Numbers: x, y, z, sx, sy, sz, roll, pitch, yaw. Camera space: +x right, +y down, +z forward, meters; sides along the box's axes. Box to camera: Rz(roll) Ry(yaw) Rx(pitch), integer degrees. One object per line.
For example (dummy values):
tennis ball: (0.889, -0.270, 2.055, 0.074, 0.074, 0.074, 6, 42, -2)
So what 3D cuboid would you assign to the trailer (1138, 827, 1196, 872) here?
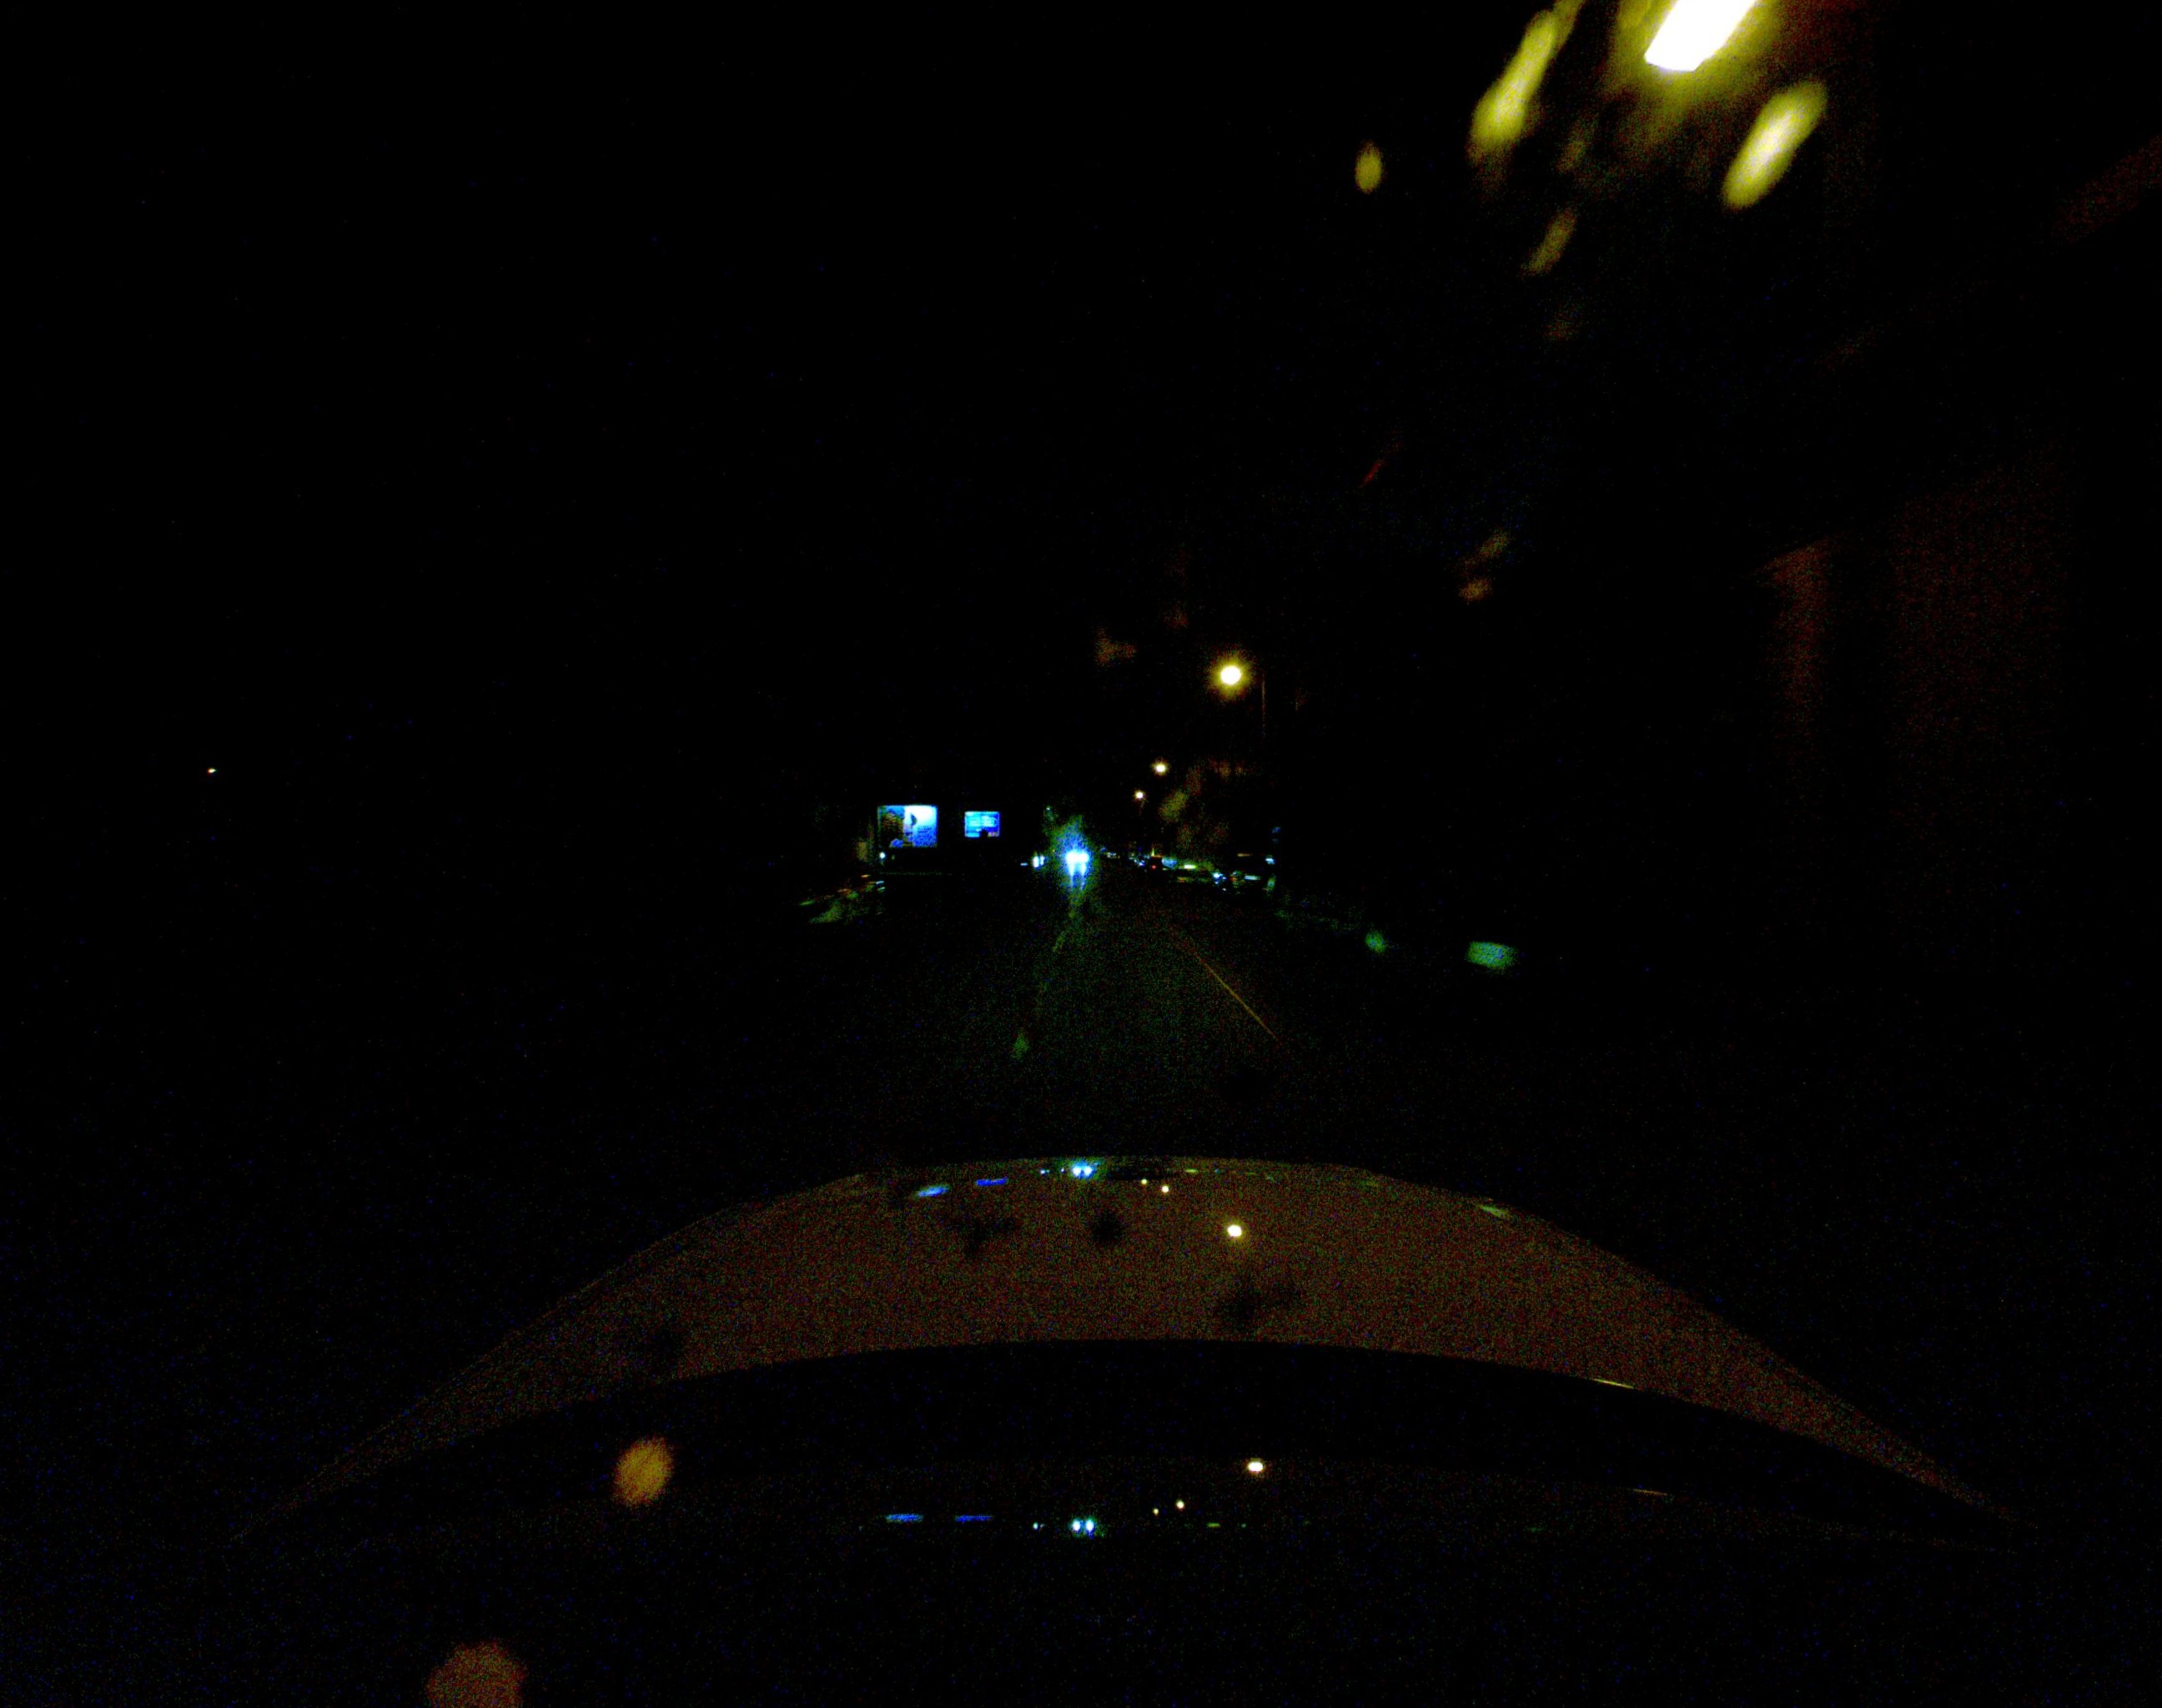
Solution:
trailer: (5.773, -0.257, 56.513, 3.173, 2.749, 10.718, -1, 0, 1)

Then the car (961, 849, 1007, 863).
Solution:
car: (-10.343, 0.191, 87.027, 4.627, 1.485, 1.988, 0, 0, -19)

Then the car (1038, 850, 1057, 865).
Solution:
car: (-3.966, 0.408, 96.224, 1.890, 1.736, 4.358, 0, 0, 2)

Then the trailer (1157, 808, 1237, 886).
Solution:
trailer: (5.529, -0.301, 40.187, 2.679, 3.464, 7.805, 1, 0, -1)

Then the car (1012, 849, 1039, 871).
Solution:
car: (-4.763, 0.486, 70.518, 1.986, 1.794, 4.001, 0, 0, 1)

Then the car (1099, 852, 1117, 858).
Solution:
car: (7.006, 0.259, 212.888, 4.510, 1.379, 2.002, 0, 0, 4)

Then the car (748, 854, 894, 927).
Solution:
car: (-5.577, 0.711, 18.005, 1.834, 1.420, 4.001, 0, 0, 1)

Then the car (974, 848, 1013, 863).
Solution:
car: (-9.939, 0.214, 92.505, 4.007, 1.595, 1.983, -1, -1, -25)

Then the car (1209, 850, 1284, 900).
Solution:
car: (5.477, 0.659, 27.347, 1.845, 1.519, 3.820, -1, 0, 2)

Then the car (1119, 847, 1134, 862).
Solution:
car: (6.568, 0.017, 117.968, 1.986, 2.145, 4.001, 0, 0, 1)

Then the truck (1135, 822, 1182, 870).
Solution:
truck: (5.940, -0.579, 63.657, 3.140, 3.463, 6.675, -1, 0, 1)

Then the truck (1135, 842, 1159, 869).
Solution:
truck: (6.105, 0.129, 75.823, 1.986, 2.407, 5.294, 0, 0, 1)

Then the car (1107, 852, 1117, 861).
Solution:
car: (6.468, 0.483, 168.348, 1.986, 1.684, 4.001, 0, 0, 1)

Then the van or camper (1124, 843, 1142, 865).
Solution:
van or camper: (6.171, -0.030, 97.522, 1.986, 2.581, 4.917, 0, 0, 2)

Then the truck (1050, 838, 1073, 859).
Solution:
truck: (-3.560, -0.973, 147.672, 3.883, 3.621, 8.248, 0, 0, -4)

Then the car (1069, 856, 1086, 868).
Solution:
car: (-0.356, 0.970, 101.208, 1.986, 1.398, 4.001, 0, 0, 1)

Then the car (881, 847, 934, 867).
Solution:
car: (-14.374, 0.239, 67.724, 3.976, 1.651, 1.999, 0, 0, -2)

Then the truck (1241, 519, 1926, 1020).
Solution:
truck: (5.077, -0.662, 11.761, 3.509, 3.983, 10.341, -1, 0, 0)

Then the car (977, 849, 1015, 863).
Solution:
car: (-9.976, 0.234, 95.465, 4.007, 1.595, 1.983, -1, -1, -25)

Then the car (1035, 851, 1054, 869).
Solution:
car: (-3.649, 0.555, 81.793, 1.673, 1.736, 4.354, 0, 0, 0)
